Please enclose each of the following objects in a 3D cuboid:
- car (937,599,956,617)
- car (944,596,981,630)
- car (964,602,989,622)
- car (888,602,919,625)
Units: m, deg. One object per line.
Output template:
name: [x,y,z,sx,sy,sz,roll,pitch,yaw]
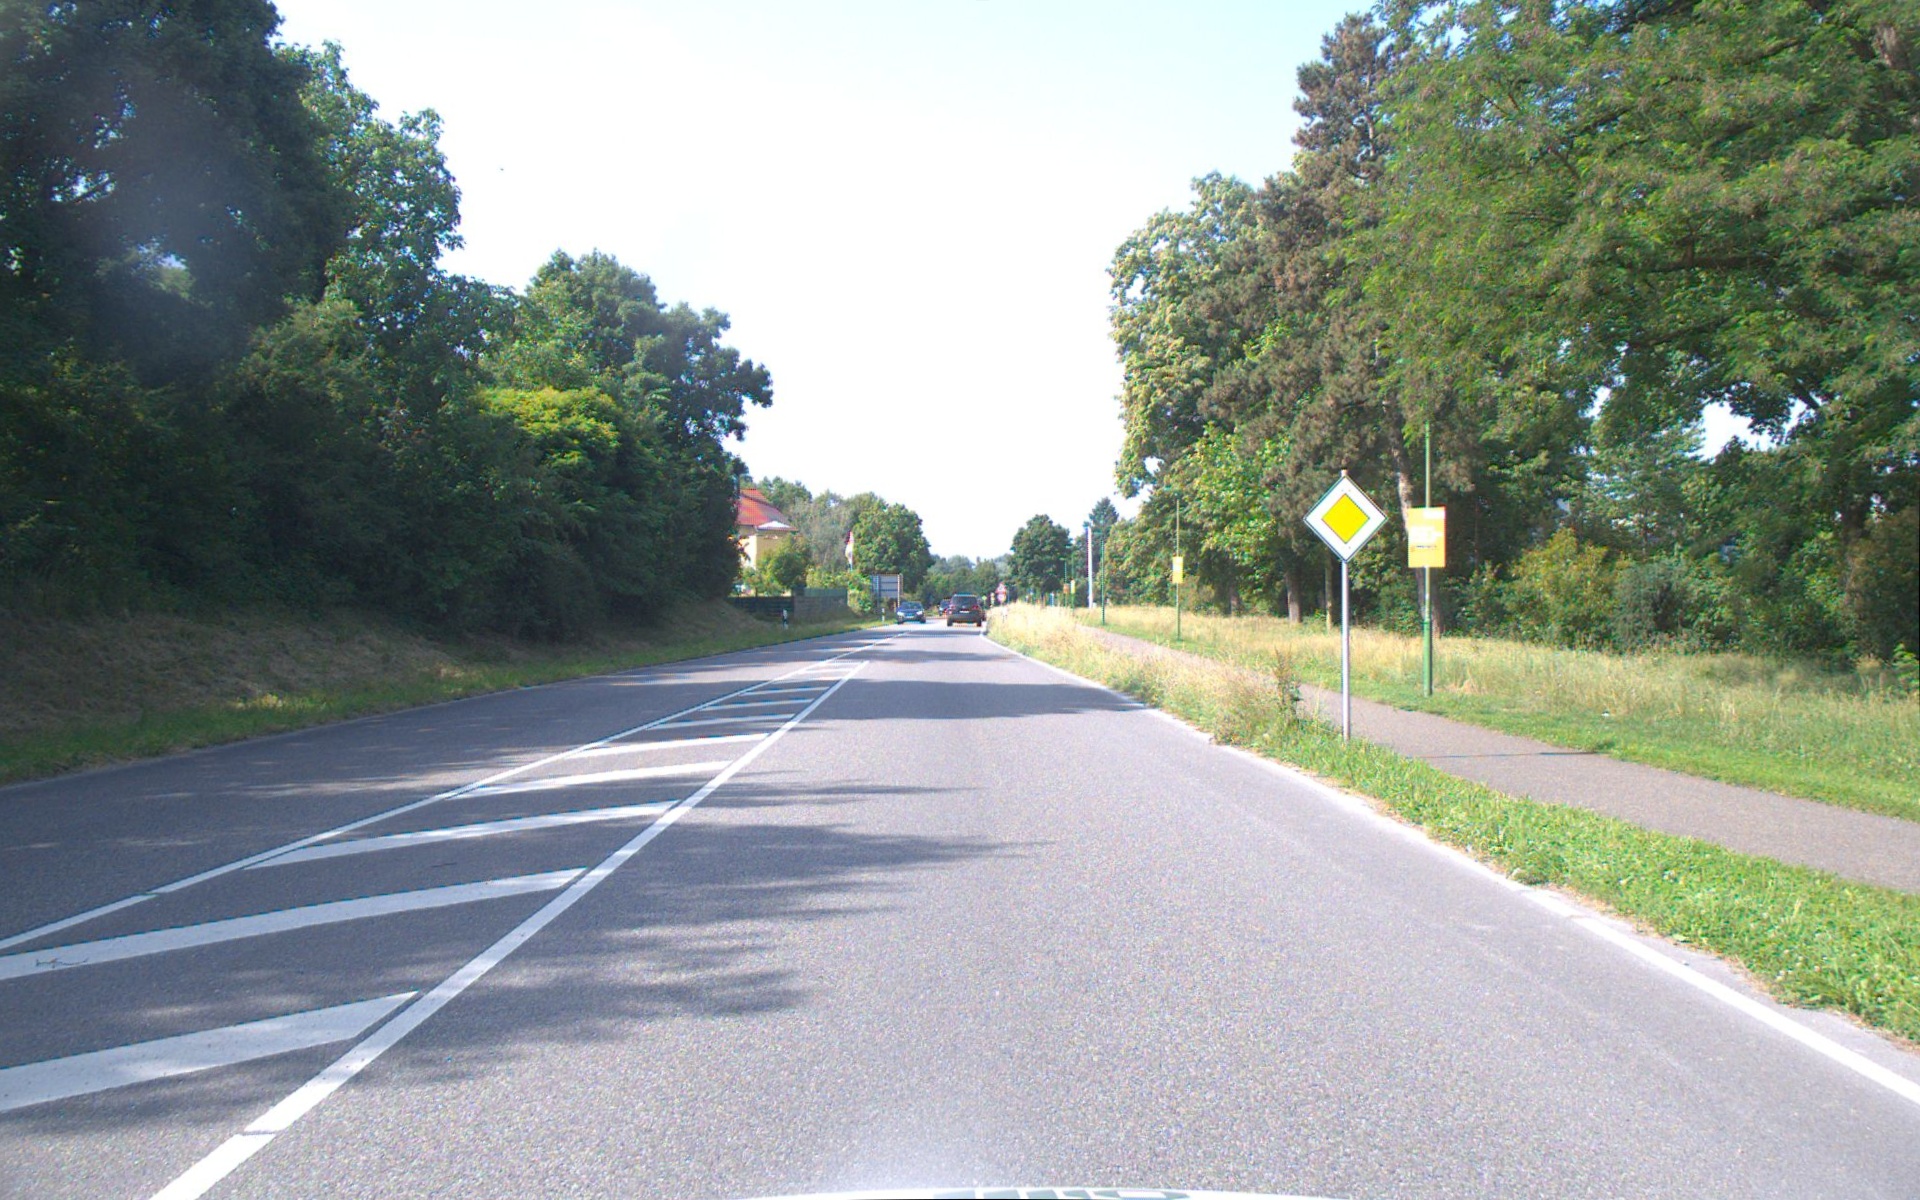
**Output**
car: [-1.486,0.902,185.313,1.901,1.849,4.239,-2,0,-3]
car: [0.111,0.699,90.460,1.886,1.802,3.999,-1,0,-1]
car: [1.265,0.904,126.765,1.701,1.542,3.913,-1,0,-2]
car: [-3.743,0.876,110.093,1.832,1.448,4.577,-3,0,0]
